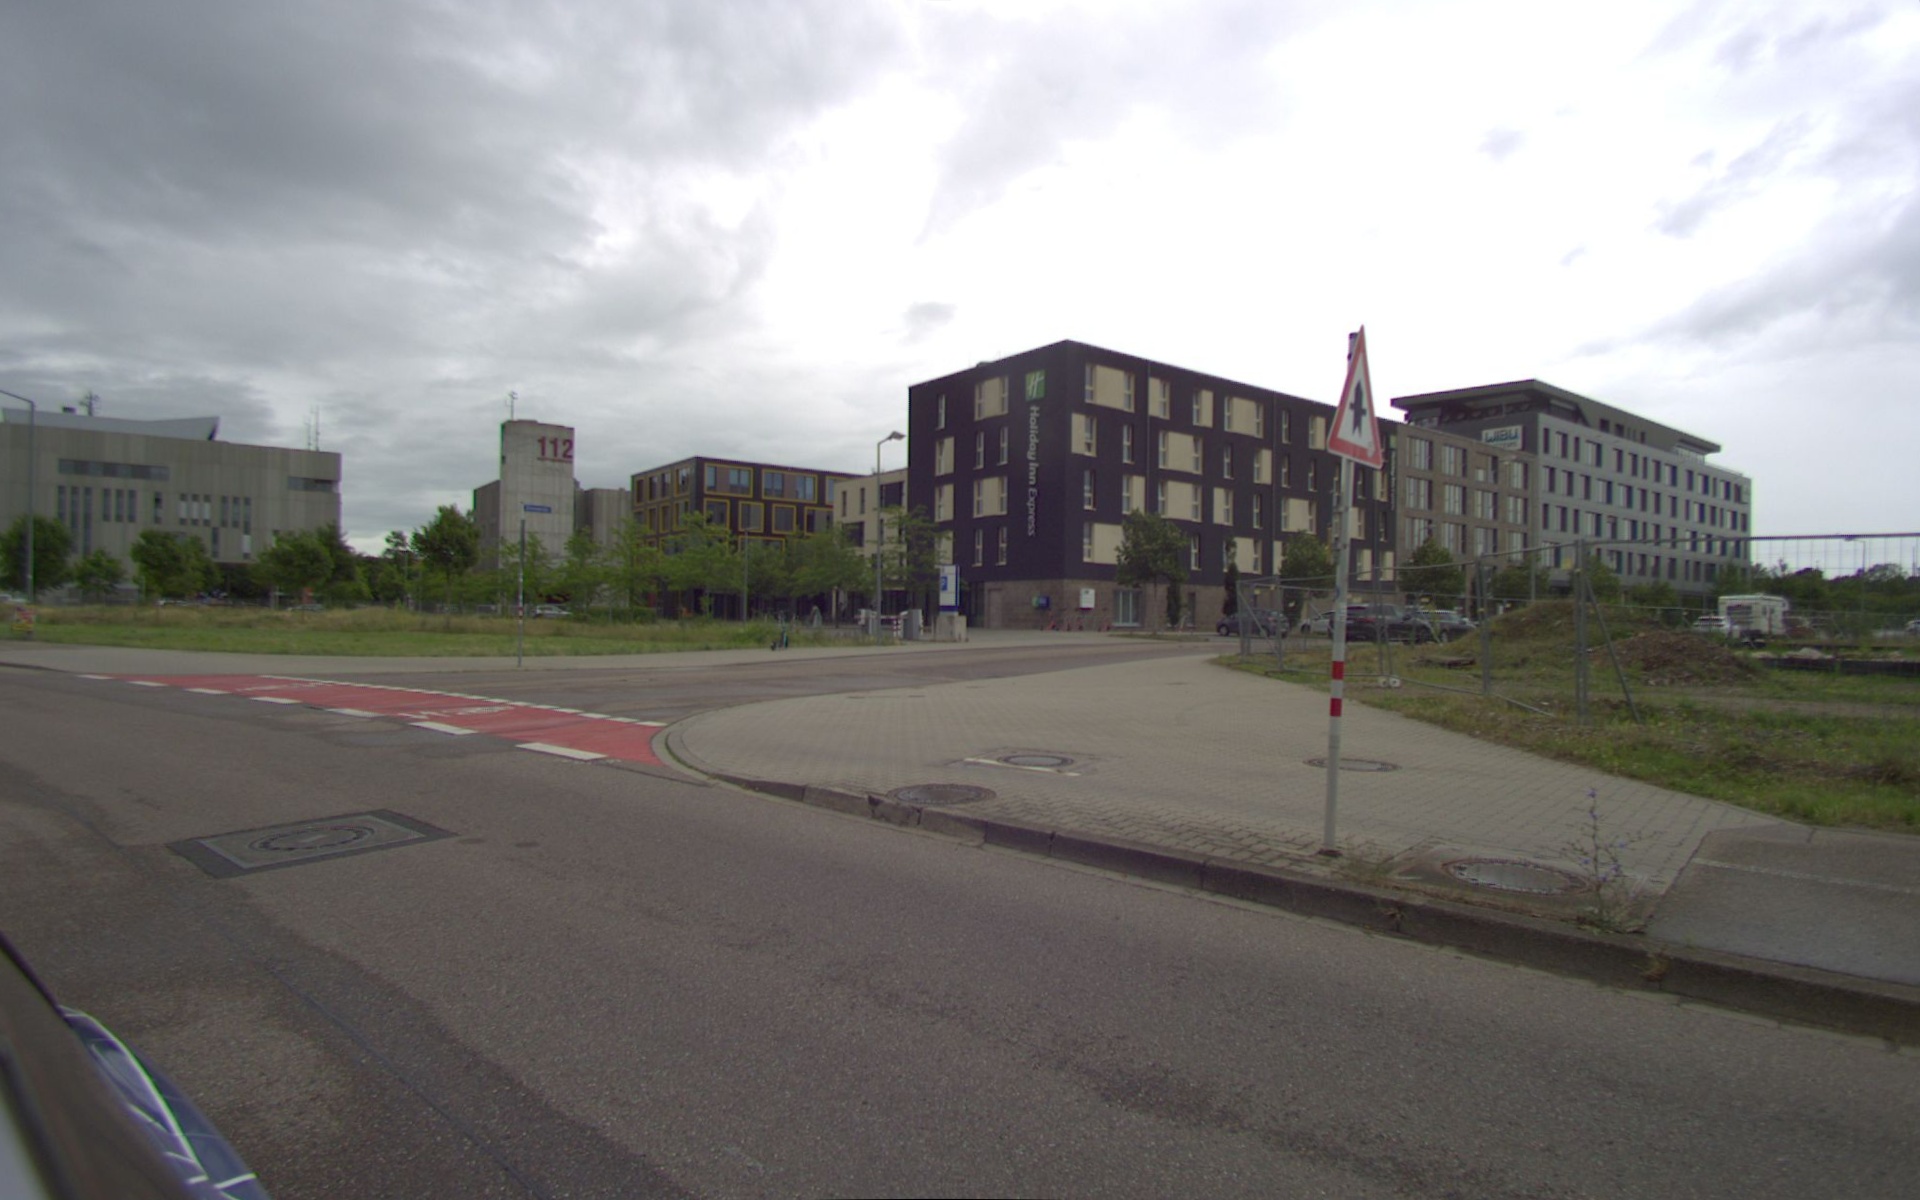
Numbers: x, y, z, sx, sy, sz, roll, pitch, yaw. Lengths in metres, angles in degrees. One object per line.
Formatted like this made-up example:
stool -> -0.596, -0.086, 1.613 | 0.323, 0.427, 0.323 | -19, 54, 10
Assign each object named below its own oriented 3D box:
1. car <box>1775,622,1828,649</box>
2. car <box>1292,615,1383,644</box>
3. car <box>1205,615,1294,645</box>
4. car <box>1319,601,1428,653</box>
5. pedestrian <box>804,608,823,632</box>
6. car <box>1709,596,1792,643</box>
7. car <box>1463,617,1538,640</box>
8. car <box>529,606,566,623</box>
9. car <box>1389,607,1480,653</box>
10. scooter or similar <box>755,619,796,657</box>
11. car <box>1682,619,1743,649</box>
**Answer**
car -> 59.431, 2.482, 71.481 | 4.453, 1.852, 2.004 | 1, -2, -39
car -> 20.339, 1.584, 54.550 | 4.155, 1.529, 1.971 | -2, -2, 45
car -> 14.354, 1.479, 50.380 | 1.671, 1.453, 4.007 | 1, -2, -39
car -> 15.265, 0.983, 37.308 | 3.935, 1.837, 2.004 | 1, -2, -37
pedestrian -> -9.711, 1.332, 67.127 | 0.874, 1.583, 0.943 | -2, -2, 35
car -> 52.196, 1.294, 66.789 | 6.469, 2.979, 2.720 | 1, -2, -38
car -> 35.787, 1.874, 67.066 | 1.718, 1.469, 4.006 | 1, -2, -41
car -> -40.111, 1.426, 98.351 | 1.970, 1.535, 4.004 | 3, -4, -43
car -> 19.242, 1.198, 41.026 | 3.615, 1.766, 1.809 | 1, -2, -36
scooter or similar -> -5.903, 1.213, 32.465 | 0.568, 1.177, 1.454 | 0, 0, 26
car -> 45.920, 2.045, 61.736 | 3.935, 1.760, 2.004 | 1, -2, -38
